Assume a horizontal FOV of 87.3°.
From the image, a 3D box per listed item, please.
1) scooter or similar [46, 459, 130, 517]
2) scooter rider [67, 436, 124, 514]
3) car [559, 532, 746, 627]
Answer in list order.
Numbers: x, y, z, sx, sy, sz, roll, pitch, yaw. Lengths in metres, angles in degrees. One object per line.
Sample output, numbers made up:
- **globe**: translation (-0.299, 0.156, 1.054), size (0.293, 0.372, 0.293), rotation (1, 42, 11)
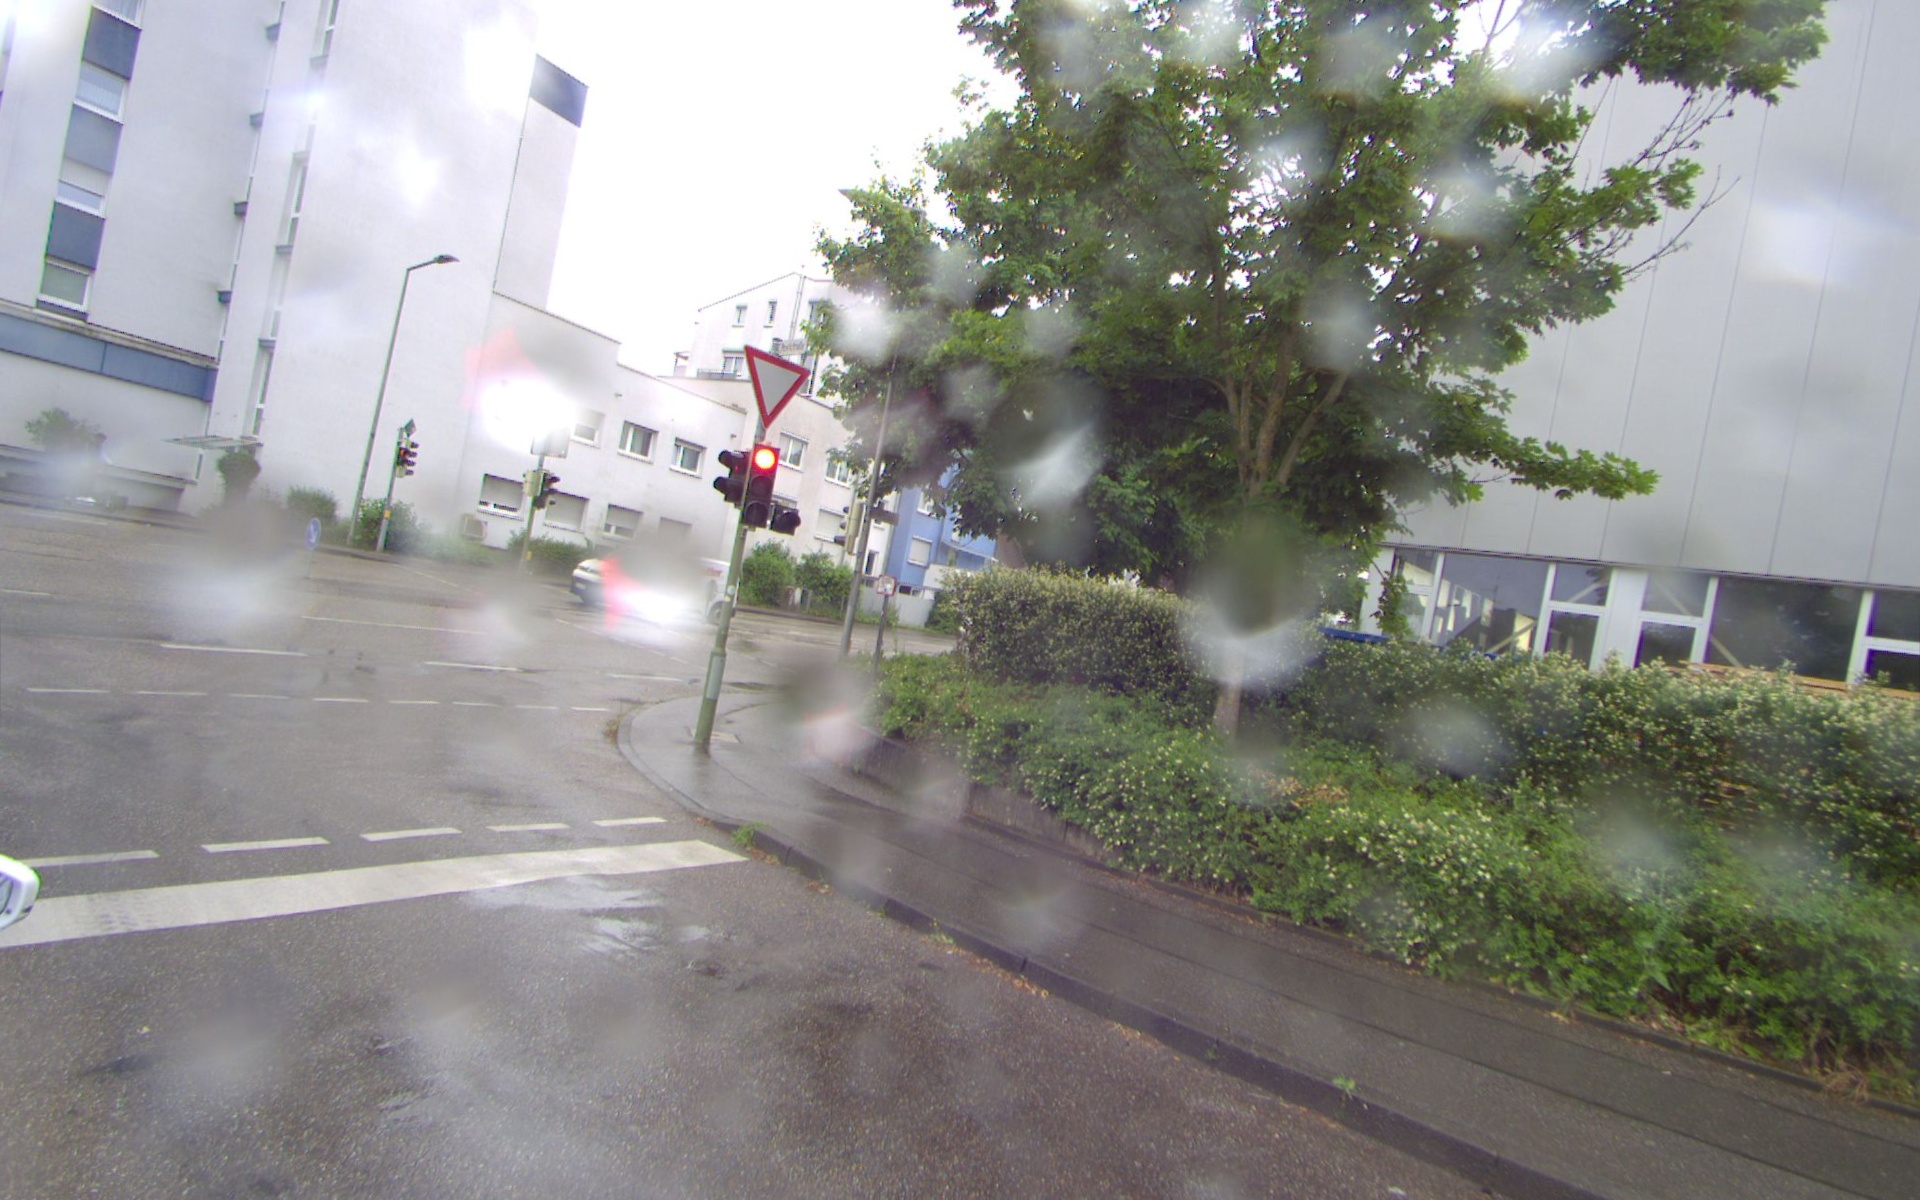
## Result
- **scooter or similar**: translation (-22.063, -2.815, 25.487), size (1.296, 1.185, 0.756), rotation (9, 0, -18)
- **scooter rider**: translation (-21.917, -3.157, 25.512), size (0.663, 1.817, 0.751), rotation (8, 1, -18)
- **car**: translation (-8.724, -0.531, 28.952), size (1.800, 1.938, 4.816), rotation (7, -2, 39)
